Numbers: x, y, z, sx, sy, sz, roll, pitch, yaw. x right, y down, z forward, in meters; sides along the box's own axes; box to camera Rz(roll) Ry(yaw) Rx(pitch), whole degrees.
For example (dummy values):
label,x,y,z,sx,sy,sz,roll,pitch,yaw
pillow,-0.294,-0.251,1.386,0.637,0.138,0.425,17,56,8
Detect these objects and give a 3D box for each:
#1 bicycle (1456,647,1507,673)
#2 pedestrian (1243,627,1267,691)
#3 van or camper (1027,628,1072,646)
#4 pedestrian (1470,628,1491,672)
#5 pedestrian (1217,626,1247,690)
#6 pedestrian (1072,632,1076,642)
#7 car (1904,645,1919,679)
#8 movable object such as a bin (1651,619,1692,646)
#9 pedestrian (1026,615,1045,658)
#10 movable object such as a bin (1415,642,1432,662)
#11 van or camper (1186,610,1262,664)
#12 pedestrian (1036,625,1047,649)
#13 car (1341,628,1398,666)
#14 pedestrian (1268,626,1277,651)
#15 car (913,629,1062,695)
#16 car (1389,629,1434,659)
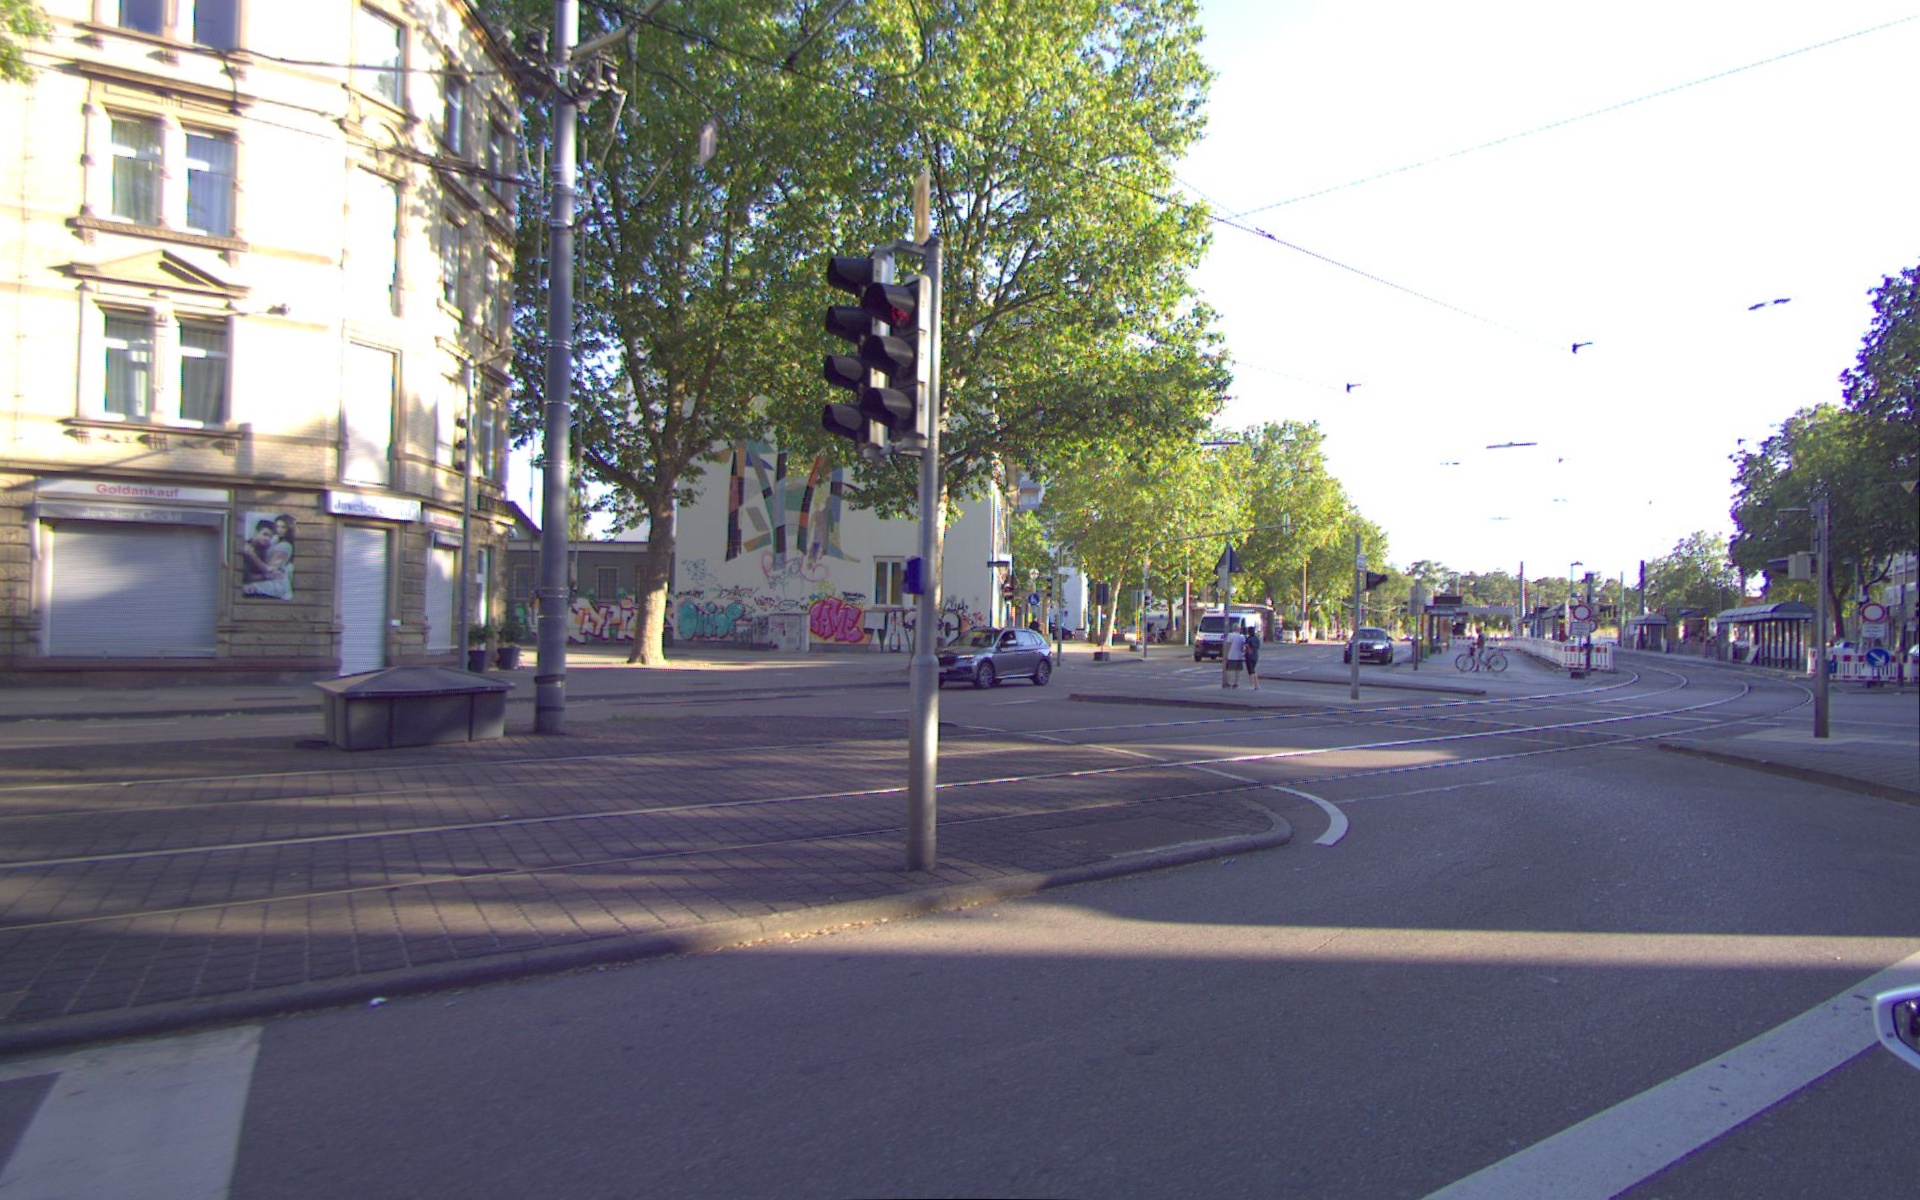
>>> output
label,x,y,z,sx,sy,sz,roll,pitch,yaw
bicycle,21.016,2.416,40.500,1.812,0.955,0.463,0,-1,27
pedestrian,7.162,1.414,24.382,0.402,1.524,0.516,0,-1,34
van or camper,8.458,3.503,95.136,3.930,1.572,1.825,2,-1,-12
pedestrian,20.786,1.998,40.114,0.709,1.748,0.399,1,-1,27
pedestrian,6.577,1.391,24.295,0.513,1.524,0.592,0,-1,34
pedestrian,12.746,4.103,112.090,0.385,1.086,0.389,1,-1,8
car,43.598,2.786,44.587,1.731,1.483,3.990,0,-2,33
movable object such as a bin,69.275,3.143,97.915,2.455,2.509,5.350,1,-1,27
pedestrian,3.154,1.514,41.981,0.663,1.733,0.432,2,1,10
movable object such as a bin,21.917,2.438,47.484,0.661,0.878,0.701,2,1,30
van or camper,12.225,1.718,46.276,2.136,2.349,5.095,-2,-3,30
pedestrian,5.152,2.337,63.604,0.663,1.414,0.693,2,1,2
car,18.851,2.138,46.132,1.858,1.606,4.200,1,-2,30
pedestrian,25.901,3.178,83.254,0.696,2.040,0.743,1,-1,21
car,0.800,1.545,25.945,1.861,1.492,4.194,1,-1,35
car,24.922,2.393,55.342,1.858,1.551,4.200,1,-2,30
